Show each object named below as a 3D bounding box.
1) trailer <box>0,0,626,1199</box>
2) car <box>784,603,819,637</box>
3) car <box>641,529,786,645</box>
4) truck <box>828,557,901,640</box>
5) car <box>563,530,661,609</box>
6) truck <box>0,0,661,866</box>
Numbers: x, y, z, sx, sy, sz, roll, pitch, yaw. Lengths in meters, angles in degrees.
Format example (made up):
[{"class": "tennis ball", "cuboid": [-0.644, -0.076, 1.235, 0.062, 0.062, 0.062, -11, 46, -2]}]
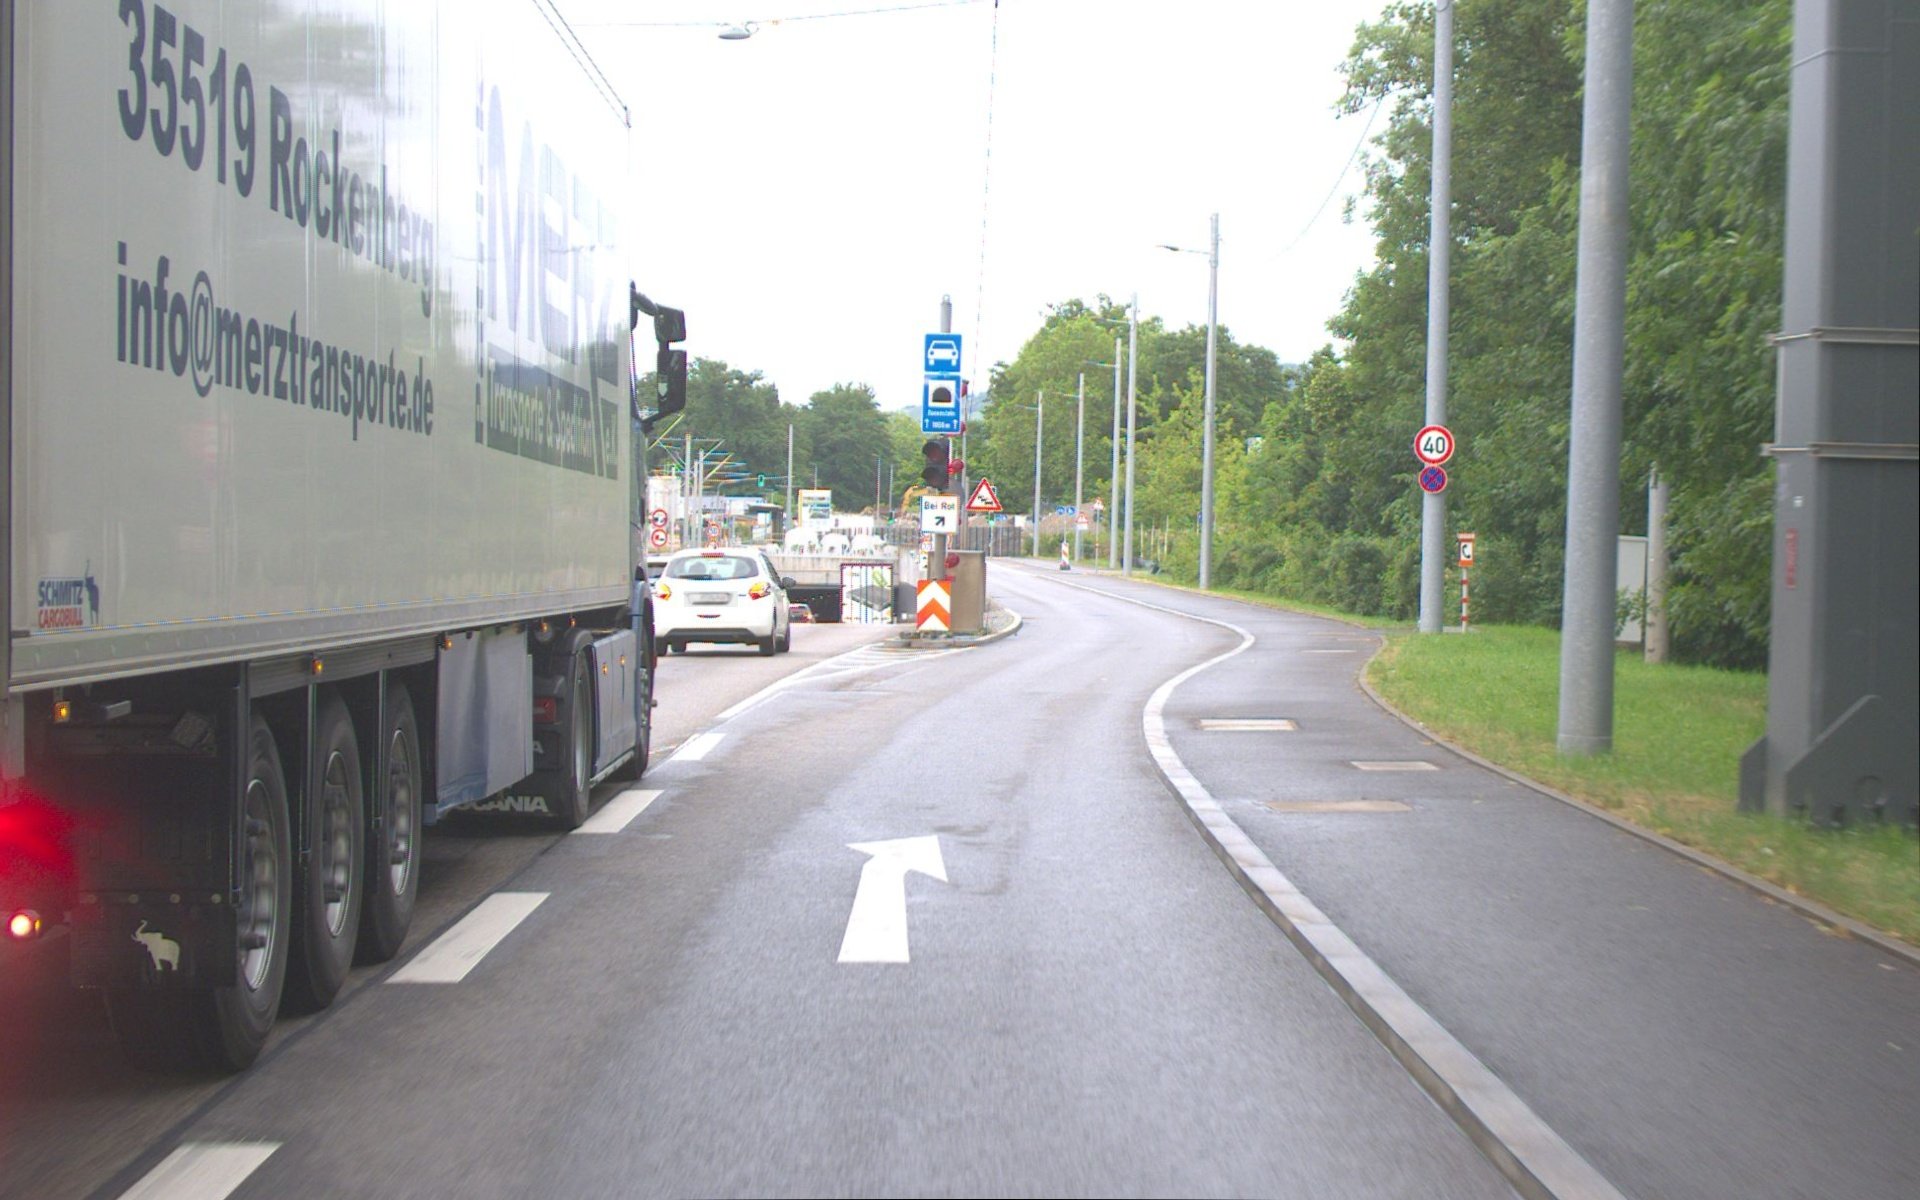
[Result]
[{"class": "trailer", "cuboid": [-3.240, -0.803, 12.904, 2.762, 4.238, 13.184, 0, 1, 0]}, {"class": "car", "cuboid": [-6.807, 0.863, 147.416, 1.426, 1.349, 2.960, 1, 1, -1]}, {"class": "car", "cuboid": [-3.371, -0.211, 47.577, 1.810, 1.419, 4.001, 0, 3, -1]}, {"class": "truck", "cuboid": [-4.706, -0.125, 170.311, 3.518, 4.026, 8.075, 0, 1, -1]}, {"class": "car", "cuboid": [-7.055, -0.651, 69.962, 1.681, 1.441, 4.001, 0, 3, -1]}, {"class": "truck", "cuboid": [-3.294, -0.934, 19.097, 2.756, 4.190, 6.307, 0, 1, -1]}]
